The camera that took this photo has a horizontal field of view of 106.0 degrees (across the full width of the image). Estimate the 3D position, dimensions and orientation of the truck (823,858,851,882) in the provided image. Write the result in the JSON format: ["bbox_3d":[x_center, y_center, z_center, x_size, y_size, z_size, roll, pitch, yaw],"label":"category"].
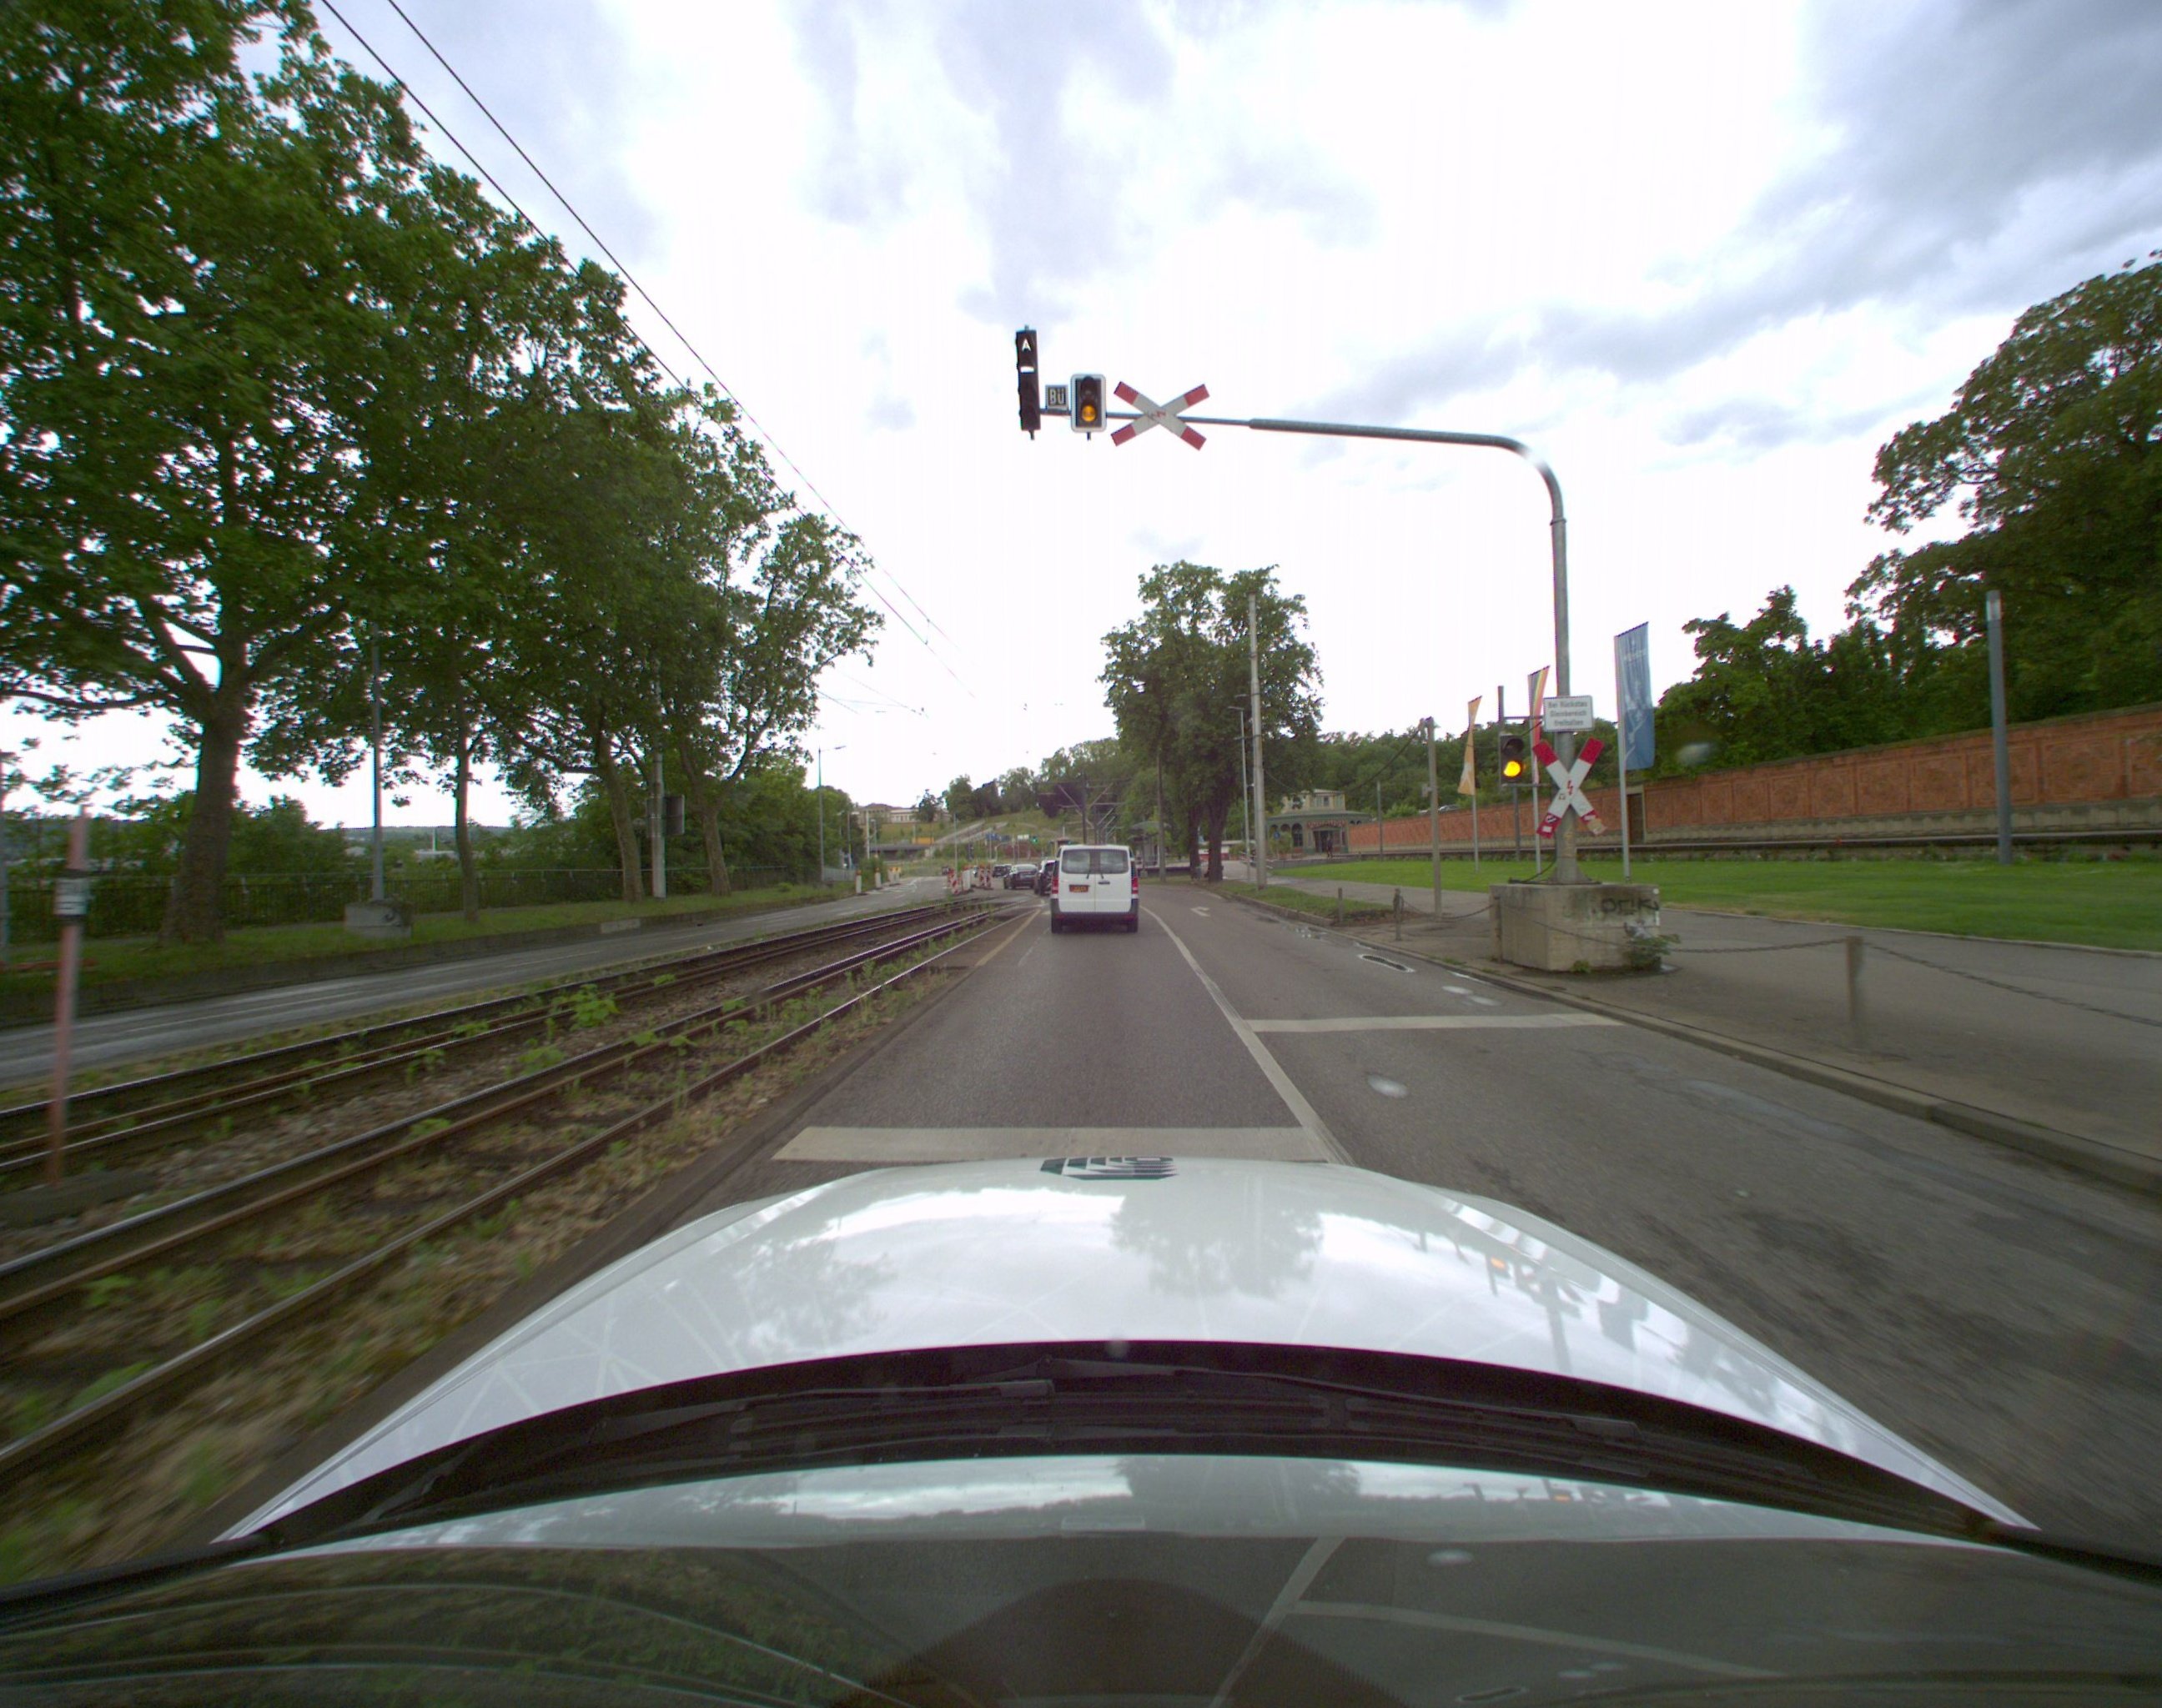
[{"bbox_3d":[-37.215,2.455,124.156,2.806,3.336,8.407,-4,0,-25],"label":"truck"}]

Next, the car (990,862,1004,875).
[{"bbox_3d":[-13.577,2.321,131.969,1.929,2.014,3.997,0,-1,-2],"label":"car"}]

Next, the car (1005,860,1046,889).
[{"bbox_3d":[-3.302,1.198,48.027,1.840,1.582,4.045,-1,-1,-12],"label":"car"}]

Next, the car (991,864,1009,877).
[{"bbox_3d":[-9.698,1.949,97.125,1.838,1.467,4.048,-1,-1,-10],"label":"car"}]

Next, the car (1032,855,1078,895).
[{"bbox_3d":[-1.226,0.942,37.150,1.836,1.729,4.054,-1,-1,-6],"label":"car"}]

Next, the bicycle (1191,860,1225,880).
[{"bbox_3d":[7.836,0.991,50.250,1.981,1.158,0.742,-3,-1,7],"label":"bicycle"}]

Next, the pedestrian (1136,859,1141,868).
[{"bbox_3d":[7.726,1.337,109.382,0.654,1.191,0.676,0,-2,4],"label":"pedestrian"}]

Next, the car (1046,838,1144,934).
[{"bbox_3d":[0.358,0.684,18.606,1.952,1.904,4.463,-1,-1,2],"label":"car"}]

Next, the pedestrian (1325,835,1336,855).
[{"bbox_3d":[22.843,-0.805,74.676,0.942,1.838,0.552,-1,-2,17],"label":"pedestrian"}]

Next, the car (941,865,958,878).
[{"bbox_3d":[-16.288,2.157,101.163,1.692,1.461,3.906,-3,0,-5],"label":"car"}]

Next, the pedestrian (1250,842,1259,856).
[{"bbox_3d":[14.848,-0.410,69.629,0.547,1.201,0.668,0,-2,-4],"label":"pedestrian"}]
